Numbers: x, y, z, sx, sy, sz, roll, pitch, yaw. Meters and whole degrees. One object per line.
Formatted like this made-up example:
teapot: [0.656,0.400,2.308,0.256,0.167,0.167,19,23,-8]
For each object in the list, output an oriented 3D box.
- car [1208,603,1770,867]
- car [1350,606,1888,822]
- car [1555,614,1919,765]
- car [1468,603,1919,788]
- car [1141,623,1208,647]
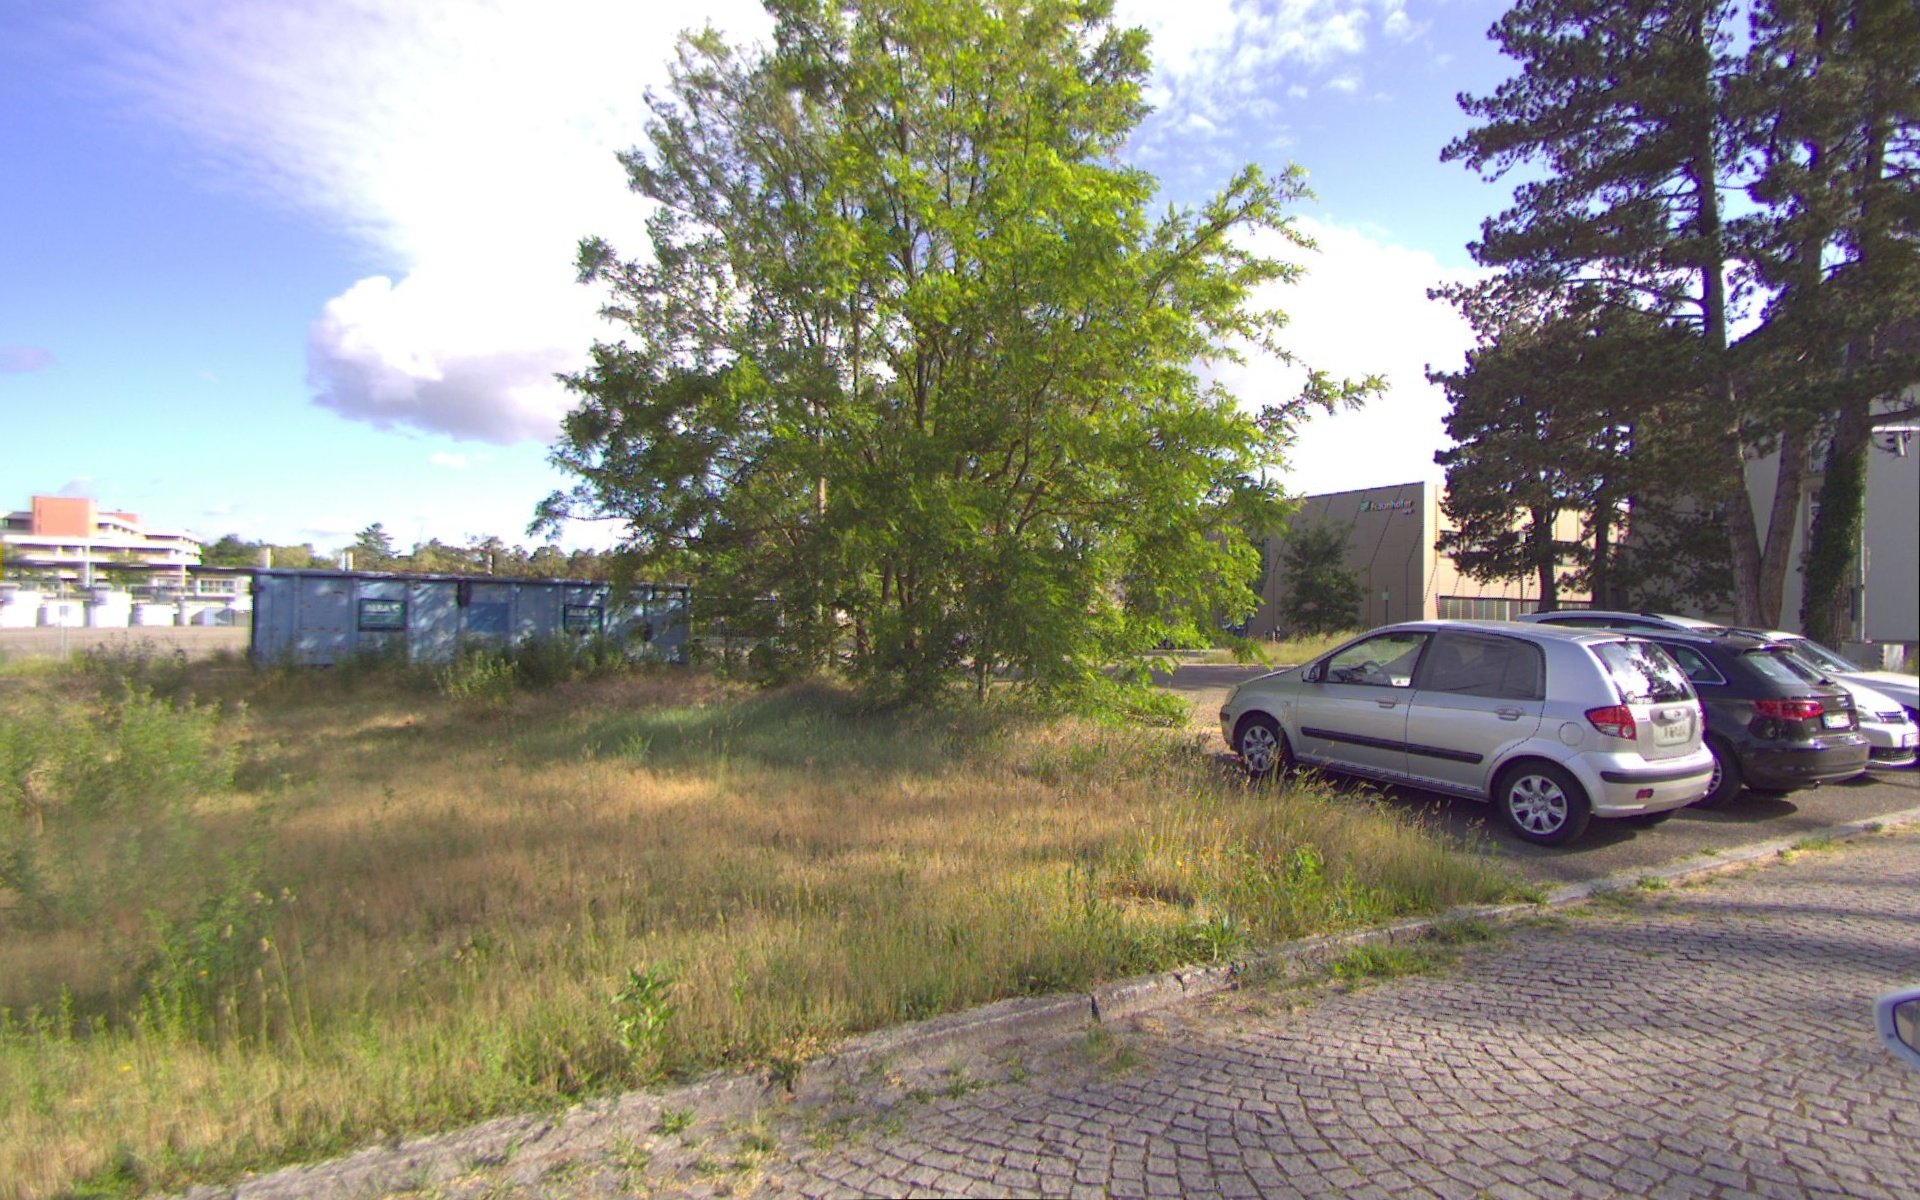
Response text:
car: [3.991,0.845,8.183,1.628,1.507,3.724,1,1,-33]
car: [6.071,0.877,9.743,1.784,1.500,3.964,1,1,-33]
car: [10.294,1.008,12.784,1.811,1.488,4.308,1,1,-33]
car: [8.370,0.908,11.623,1.865,1.615,4.056,1,1,-33]
car: [13.704,2.247,64.066,3.953,1.452,1.893,2,-1,-30]
